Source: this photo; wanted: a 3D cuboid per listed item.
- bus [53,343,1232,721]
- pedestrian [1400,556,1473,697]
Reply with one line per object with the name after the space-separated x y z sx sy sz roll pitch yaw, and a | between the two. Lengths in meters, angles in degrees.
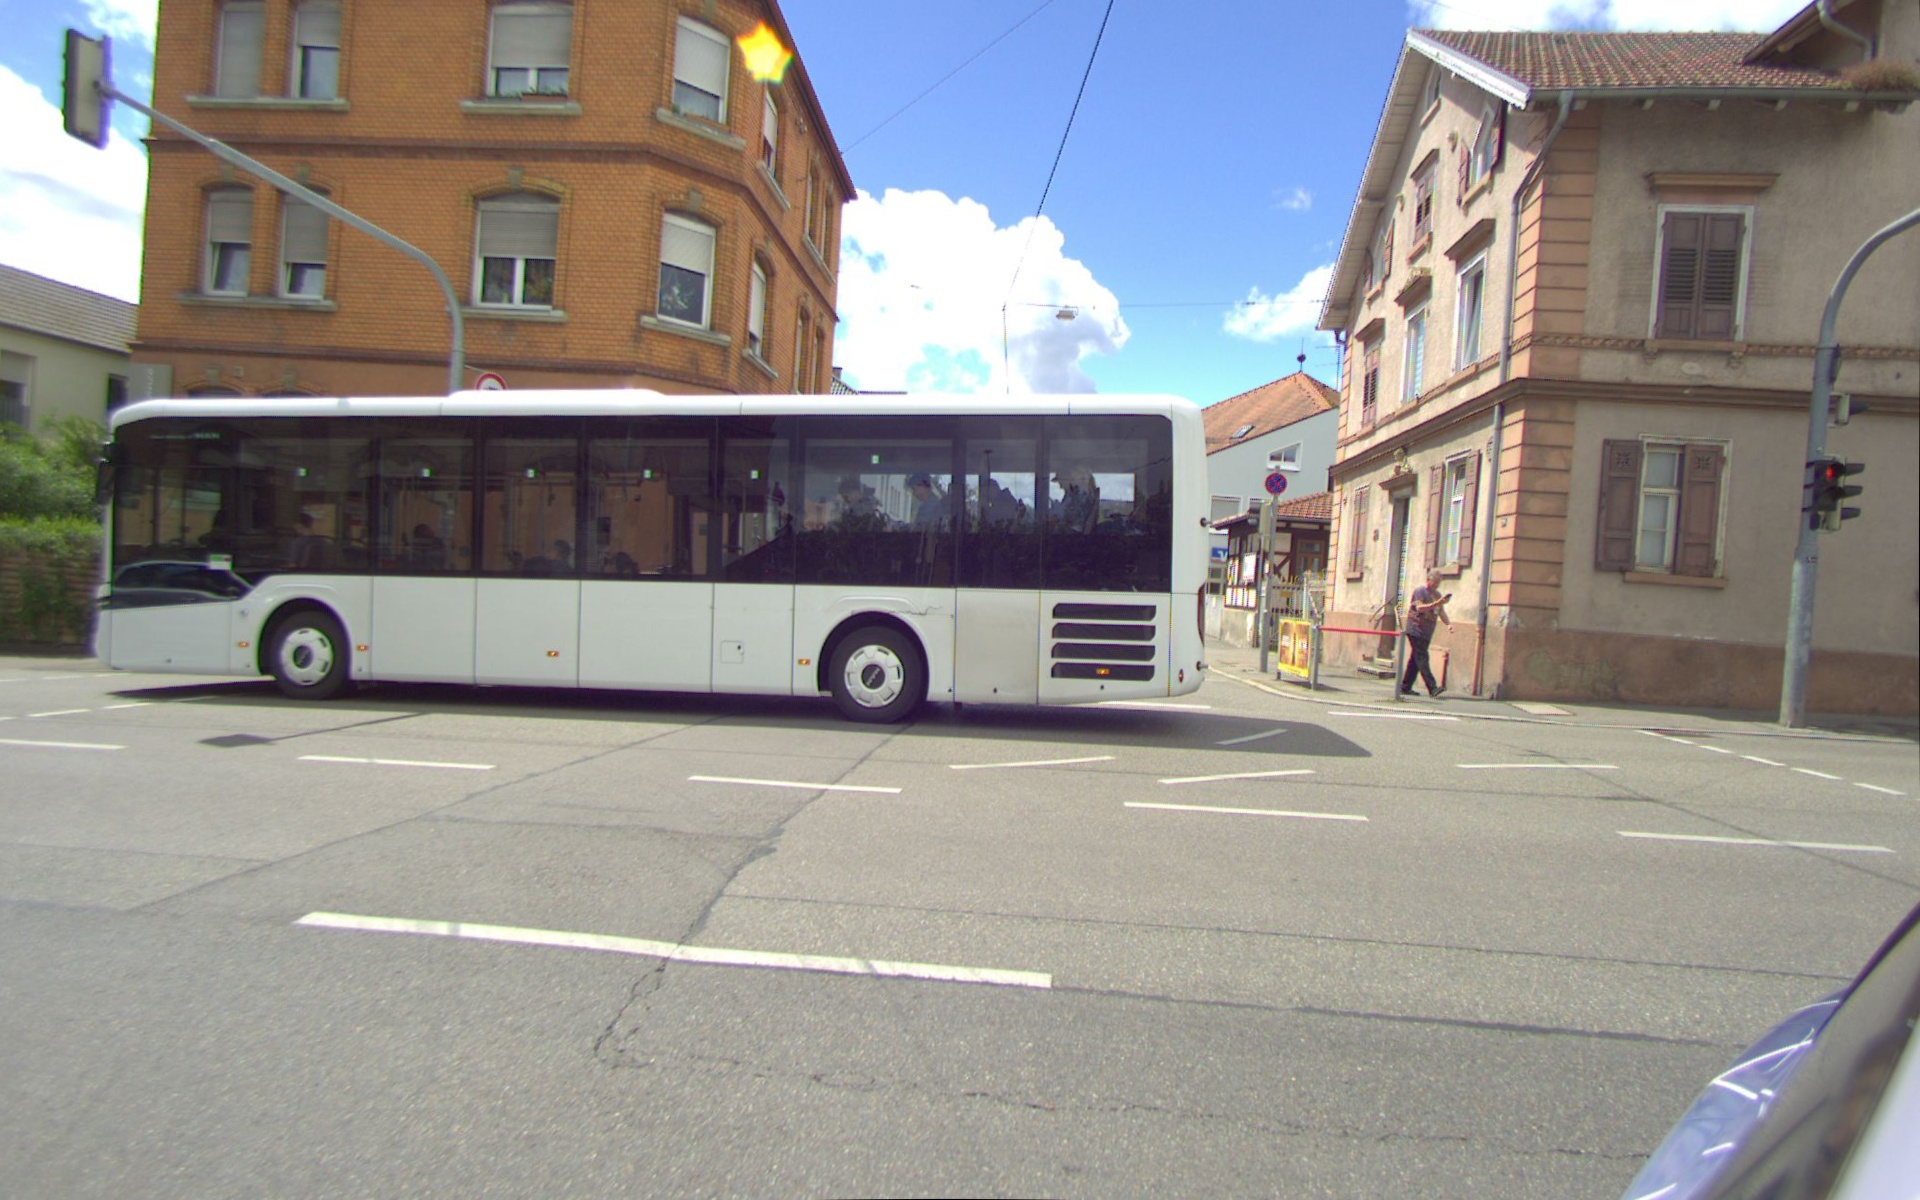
-3.429 -0.697 11.465 12.215 3.431 2.963 1 0 8 | bus
6.628 0.349 14.124 0.713 1.888 1.043 1 0 15 | pedestrian
